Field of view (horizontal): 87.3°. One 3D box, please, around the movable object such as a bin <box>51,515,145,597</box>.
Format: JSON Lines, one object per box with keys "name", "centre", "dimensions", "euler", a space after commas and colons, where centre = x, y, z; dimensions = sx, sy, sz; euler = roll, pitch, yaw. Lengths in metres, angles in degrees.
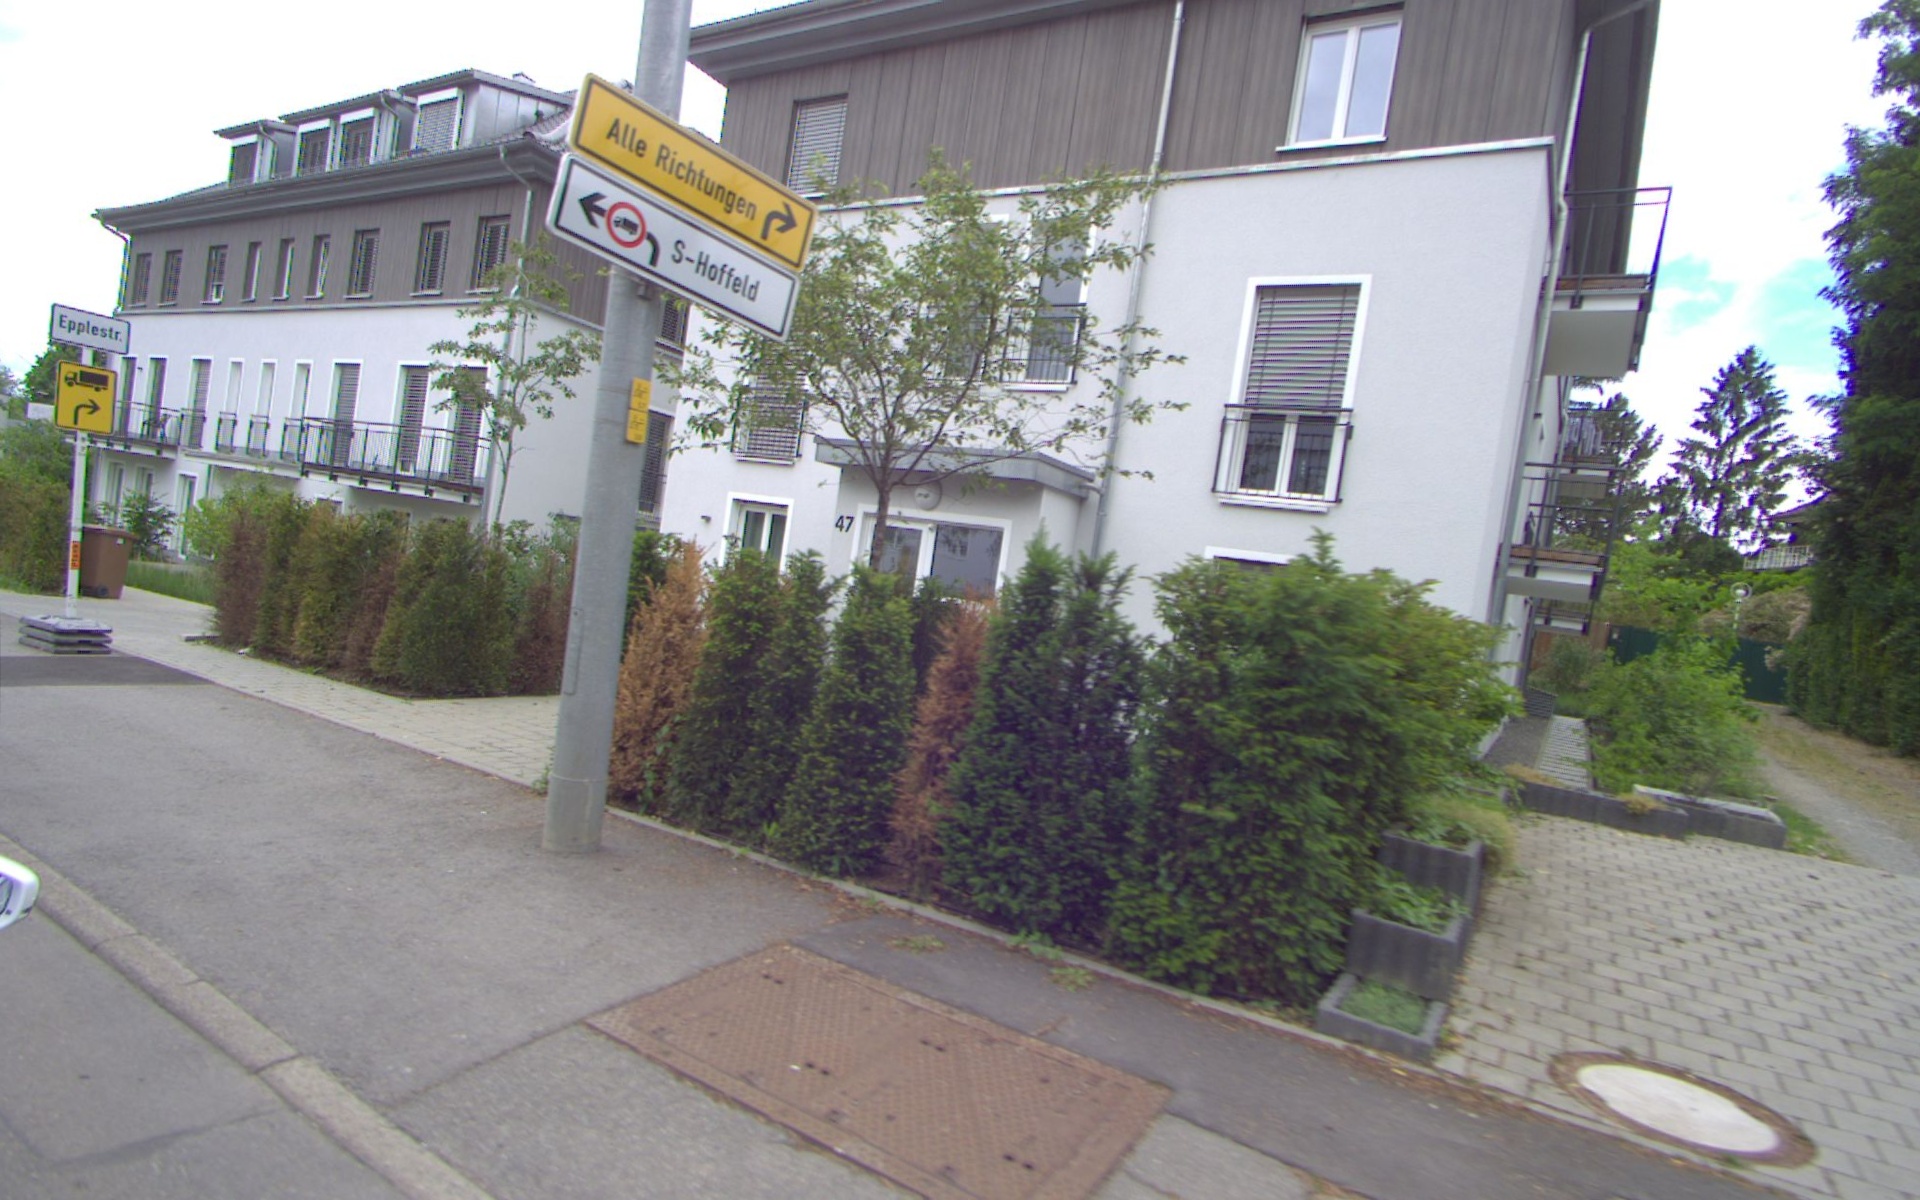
{"name": "movable object such as a bin", "centre": [-12.927, -0.650, 15.106], "dimensions": [0.670, 1.086, 0.716], "euler": [7, -2, -5]}
